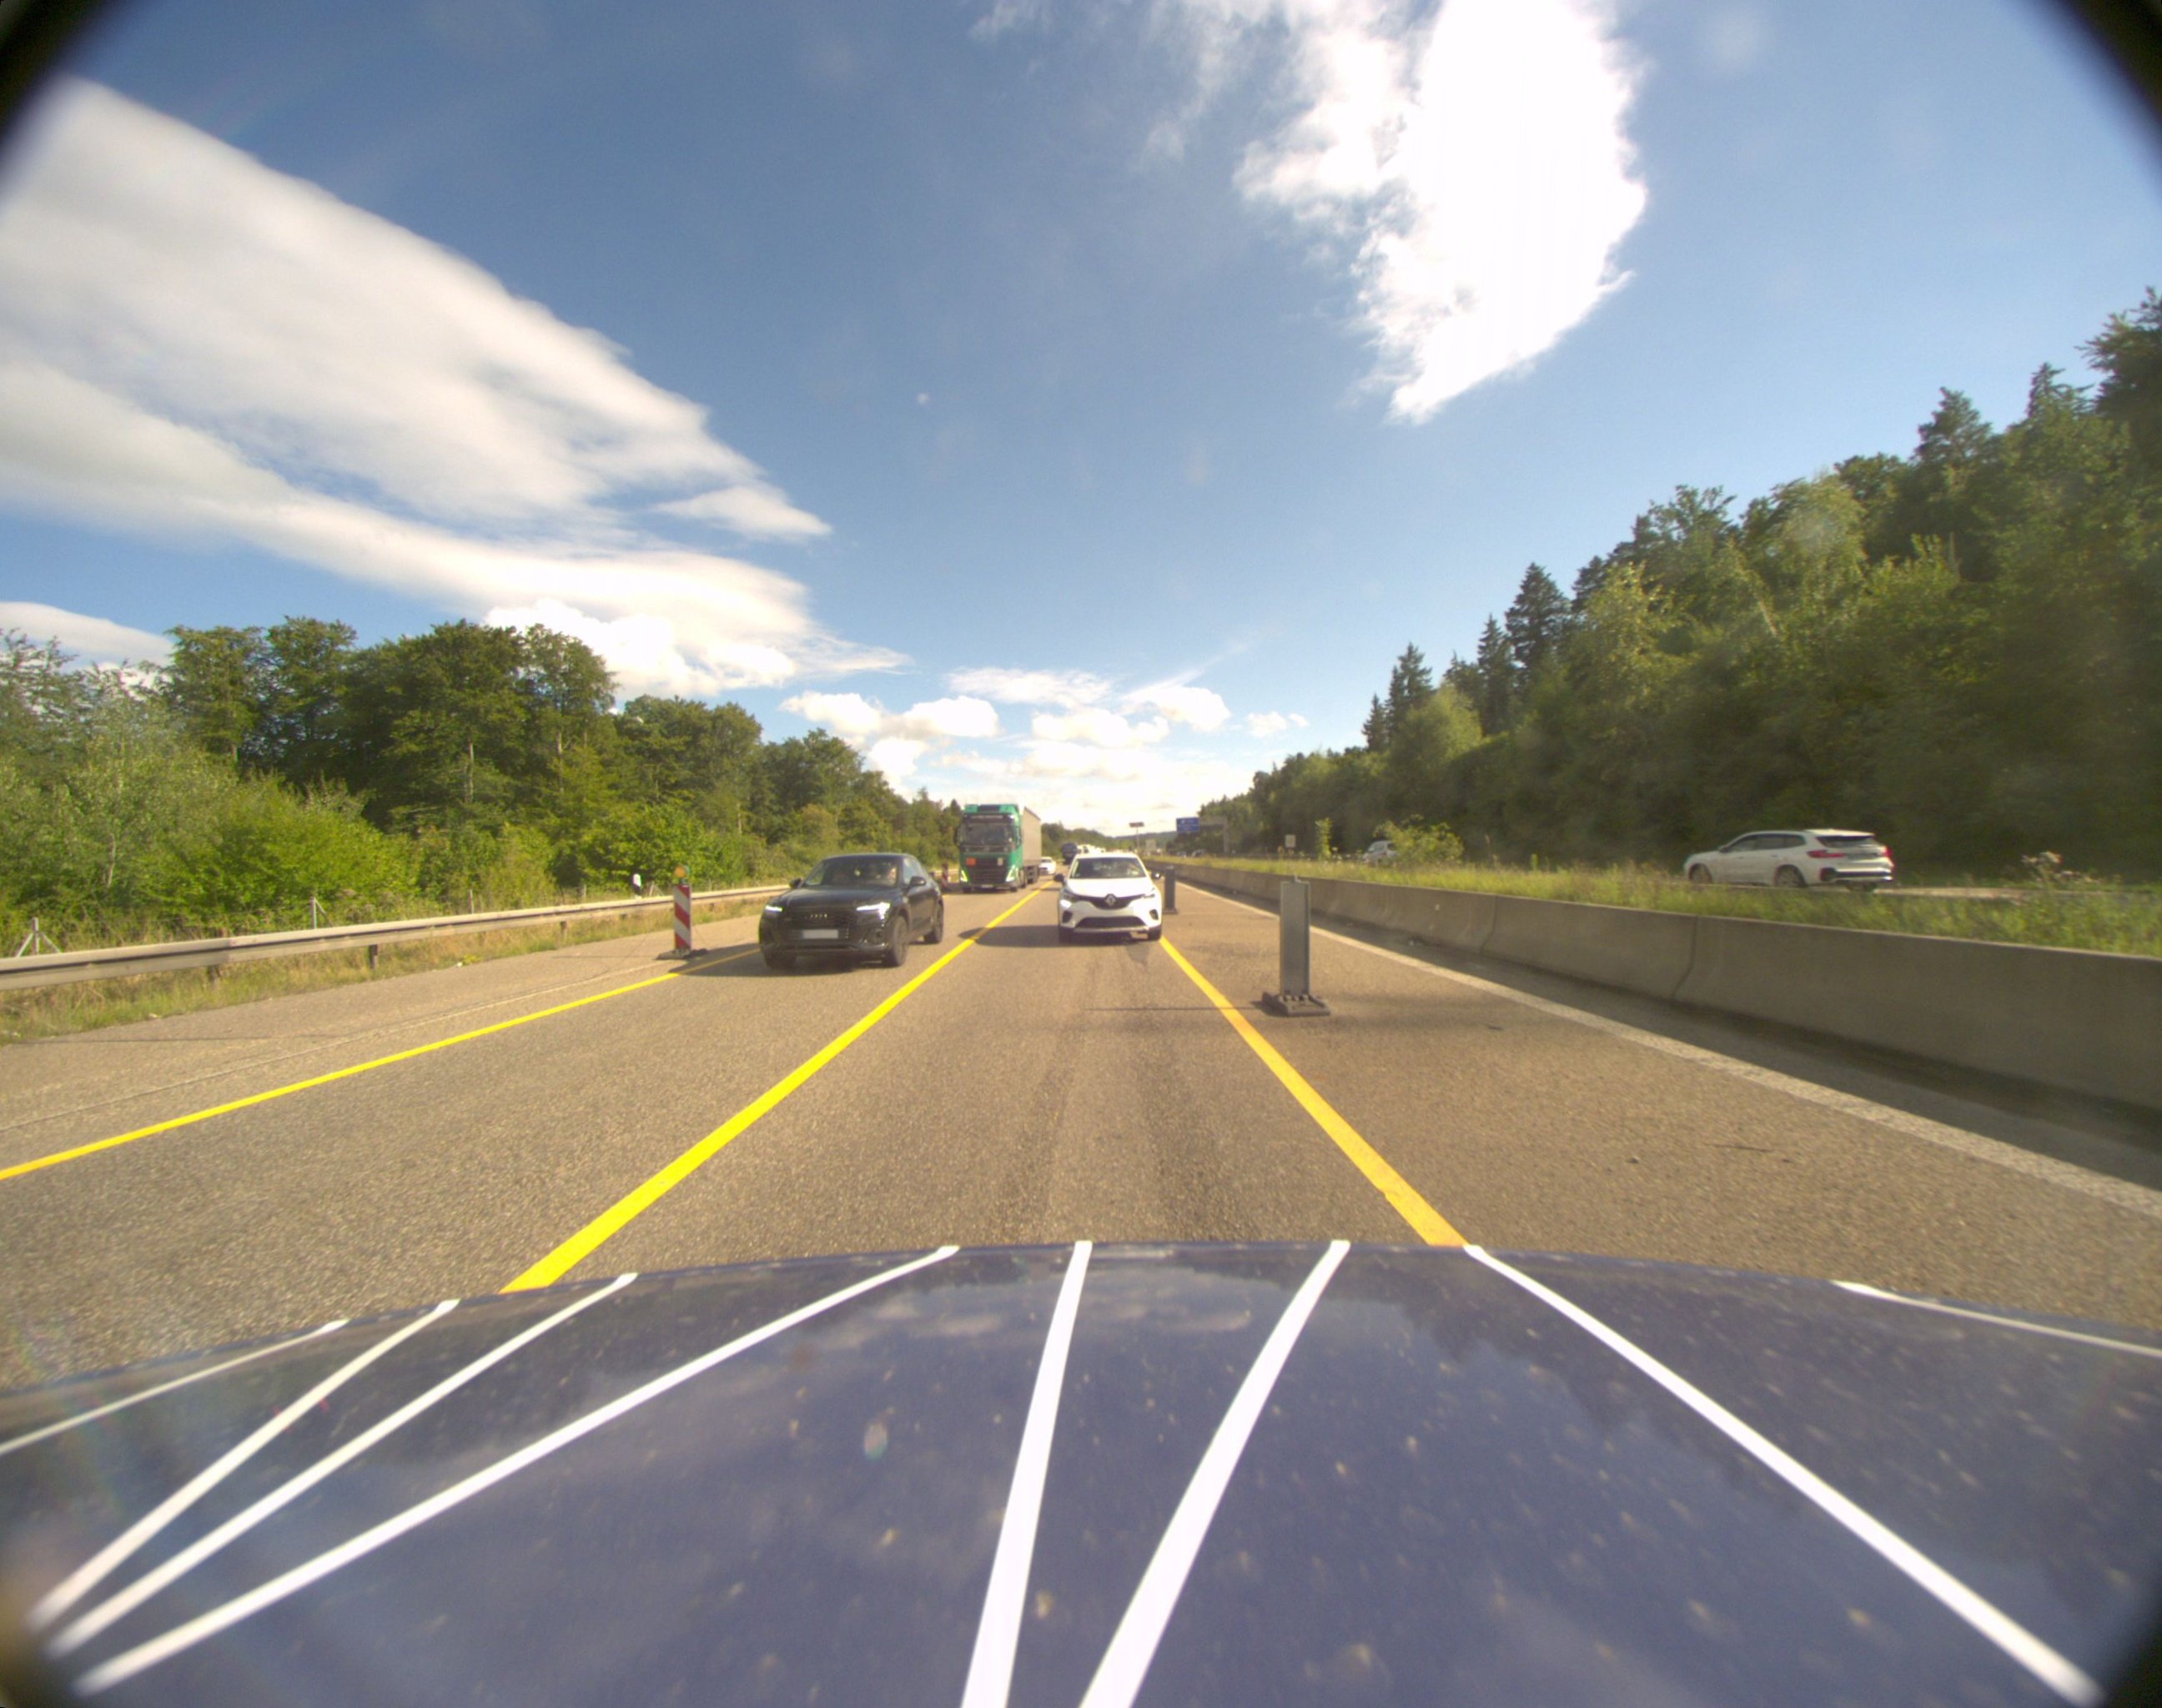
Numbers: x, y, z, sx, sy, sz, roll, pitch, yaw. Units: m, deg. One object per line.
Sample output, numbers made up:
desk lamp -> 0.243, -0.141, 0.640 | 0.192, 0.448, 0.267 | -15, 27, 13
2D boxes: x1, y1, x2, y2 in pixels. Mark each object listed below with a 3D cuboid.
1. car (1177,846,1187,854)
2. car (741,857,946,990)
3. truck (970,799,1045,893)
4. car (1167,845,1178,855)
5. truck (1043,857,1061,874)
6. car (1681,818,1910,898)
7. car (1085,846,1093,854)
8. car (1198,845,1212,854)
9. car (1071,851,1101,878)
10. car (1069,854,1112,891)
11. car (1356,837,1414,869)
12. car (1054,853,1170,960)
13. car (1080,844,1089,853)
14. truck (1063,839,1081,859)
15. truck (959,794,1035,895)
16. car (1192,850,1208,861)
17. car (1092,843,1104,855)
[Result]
car -> 23.852, -0.941, 180.068 | 1.782, 1.891, 4.617 | -2, 1, 0
car -> -3.451, 0.907, 11.959 | 1.782, 1.593, 4.293 | -2, 1, 0
truck -> -3.639, -0.343, 41.184 | 2.470, 4.119, 14.210 | -2, 0, 0
car -> 18.988, -0.809, 158.269 | 1.782, 1.891, 4.617 | -2, 1, 0
truck -> -2.392, 0.936, 62.707 | 1.468, 1.215, 3.087 | -2, 1, -2
car -> 18.023, 0.069, 19.506 | 1.782, 1.775, 4.364 | -2, 1, 0
car -> 1.914, -0.985, 181.582 | 1.750, 1.787, 3.999 | -2, 1, 0
car -> 22.939, -0.882, 140.864 | 1.782, 1.679, 4.617 | -2, 1, 0
car -> 0.320, 0.652, 48.860 | 1.782, 1.593, 4.017 | -2, 1, 0
car -> 0.429, 0.792, 34.684 | 1.782, 1.468, 4.017 | -2, 1, 0
car -> 18.565, -0.078, 46.569 | 1.782, 1.775, 4.364 | -2, 1, 0
car -> 0.513, 0.830, 13.981 | 1.782, 1.593, 4.017 | -2, 1, 0
car -> 0.780, -1.108, 158.735 | 1.750, 1.787, 3.999 | -2, 1, 0
truck -> -1.516, -0.813, 127.665 | 2.576, 3.167, 6.802 | -2, 1, 3
truck -> -3.669, -0.431, 34.764 | 2.528, 4.076, 6.855 | -2, 1, 0
car -> 17.294, 0.250, 110.440 | 1.782, 1.448, 4.104 | -2, 1, 0
car -> 2.969, -0.924, 134.029 | 1.998, 2.002, 3.999 | -2, 1, 0
